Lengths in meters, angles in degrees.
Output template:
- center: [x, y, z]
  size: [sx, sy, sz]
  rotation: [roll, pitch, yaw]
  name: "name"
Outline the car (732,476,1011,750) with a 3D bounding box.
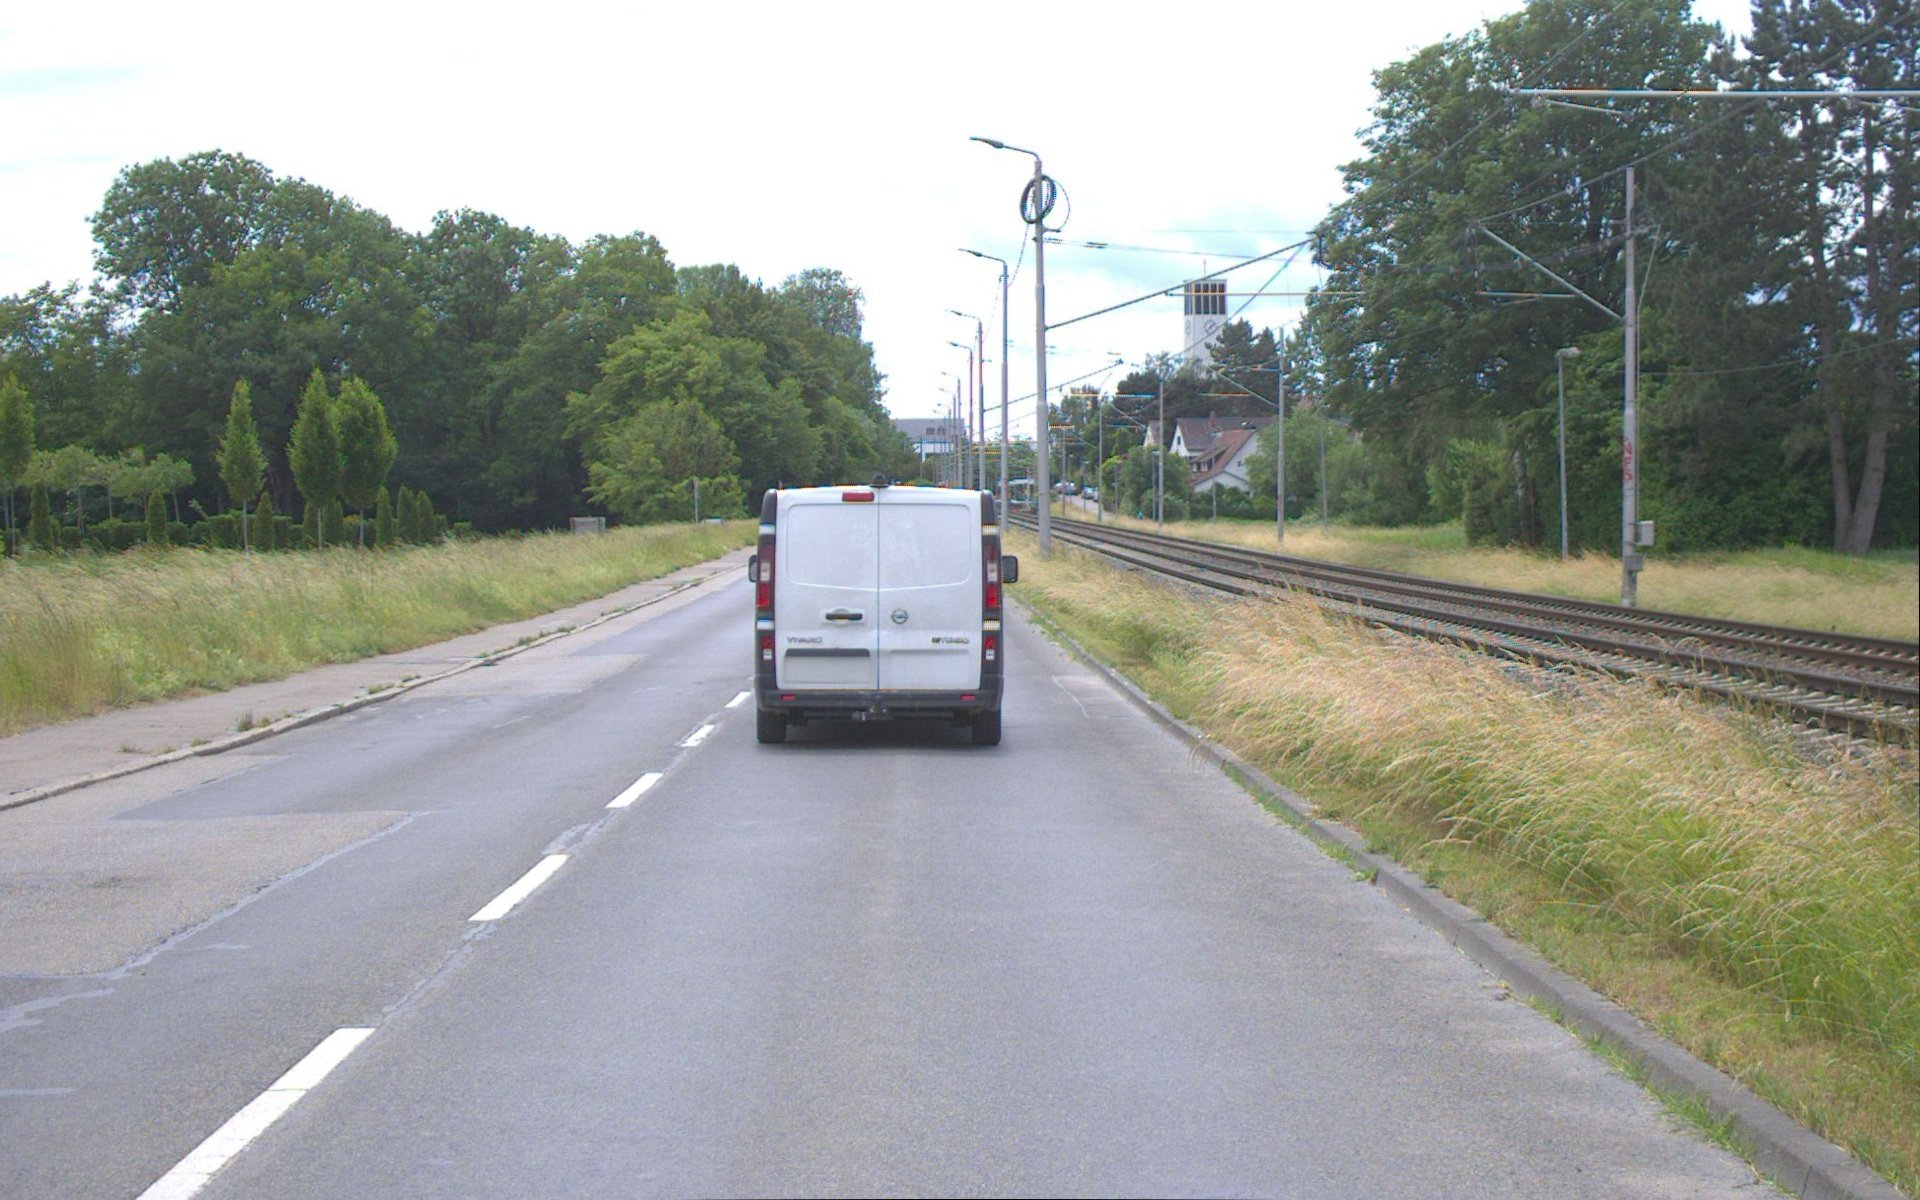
- center: [-0.701, 0.067, 26.864]
  size: [1.993, 1.950, 4.000]
  rotation: [1, 1, -2]
  name: "car"
